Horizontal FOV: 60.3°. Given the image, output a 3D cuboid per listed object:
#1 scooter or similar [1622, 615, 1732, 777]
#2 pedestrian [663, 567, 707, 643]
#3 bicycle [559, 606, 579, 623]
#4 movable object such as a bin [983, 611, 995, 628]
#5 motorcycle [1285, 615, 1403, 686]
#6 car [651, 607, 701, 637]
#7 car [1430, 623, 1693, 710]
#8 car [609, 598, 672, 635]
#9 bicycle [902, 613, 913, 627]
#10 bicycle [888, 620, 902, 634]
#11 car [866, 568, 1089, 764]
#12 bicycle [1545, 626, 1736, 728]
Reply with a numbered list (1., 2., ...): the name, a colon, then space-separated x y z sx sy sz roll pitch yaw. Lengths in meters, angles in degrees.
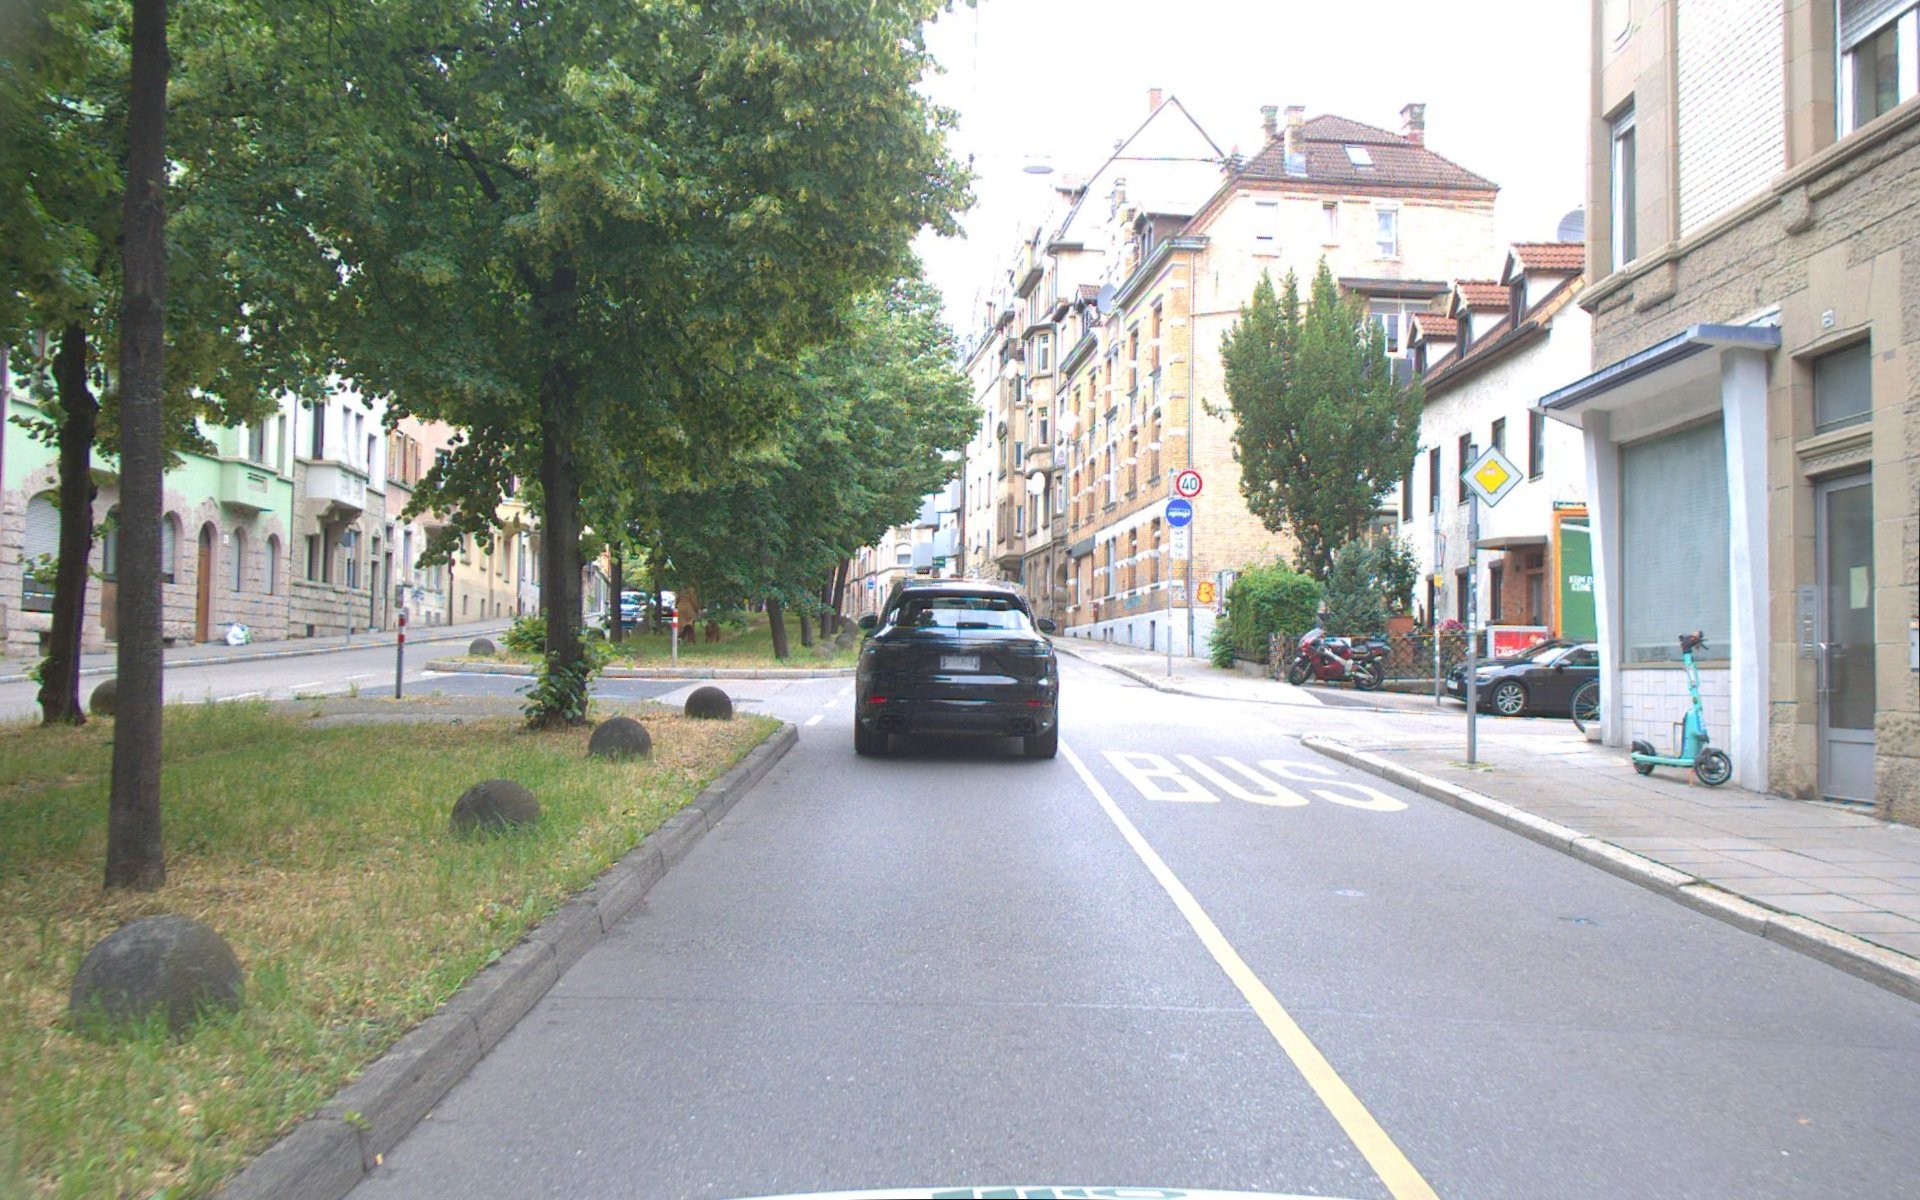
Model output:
1. scooter or similar: 6.020 0.779 13.928 0.401 1.231 1.145 -2 3 -1
2. pedestrian: -6.582 0.140 39.565 0.816 1.742 1.122 -2 -2 -1
3. bicycle: -26.799 0.974 113.299 0.754 1.104 2.017 3 -3 -29
4. movable object such as a bin: 1.603 1.096 91.844 0.583 0.920 0.502 2 -5 -6
5. motorcycle: 7.484 0.974 32.302 2.015 1.290 1.009 2 0 -5
6. car: -14.479 1.091 84.457 1.722 1.406 4.668 -1 1 0
7. car: 10.757 1.180 29.764 4.042 1.307 1.782 2 3 -4
8. car: -13.174 0.666 68.394 1.673 1.406 4.668 -1 1 0
9. bicycle: -3.826 1.465 120.332 0.282 0.948 1.750 2 -3 -20
10. bicycle: -5.635 2.307 142.693 0.862 1.149 2.973 2 -2 -8
11. car: 0.069 0.590 16.836 1.954 1.694 3.998 2 0 -3
12. bicycle: 8.259 0.962 20.150 0.637 1.160 2.041 6 -8 -44
